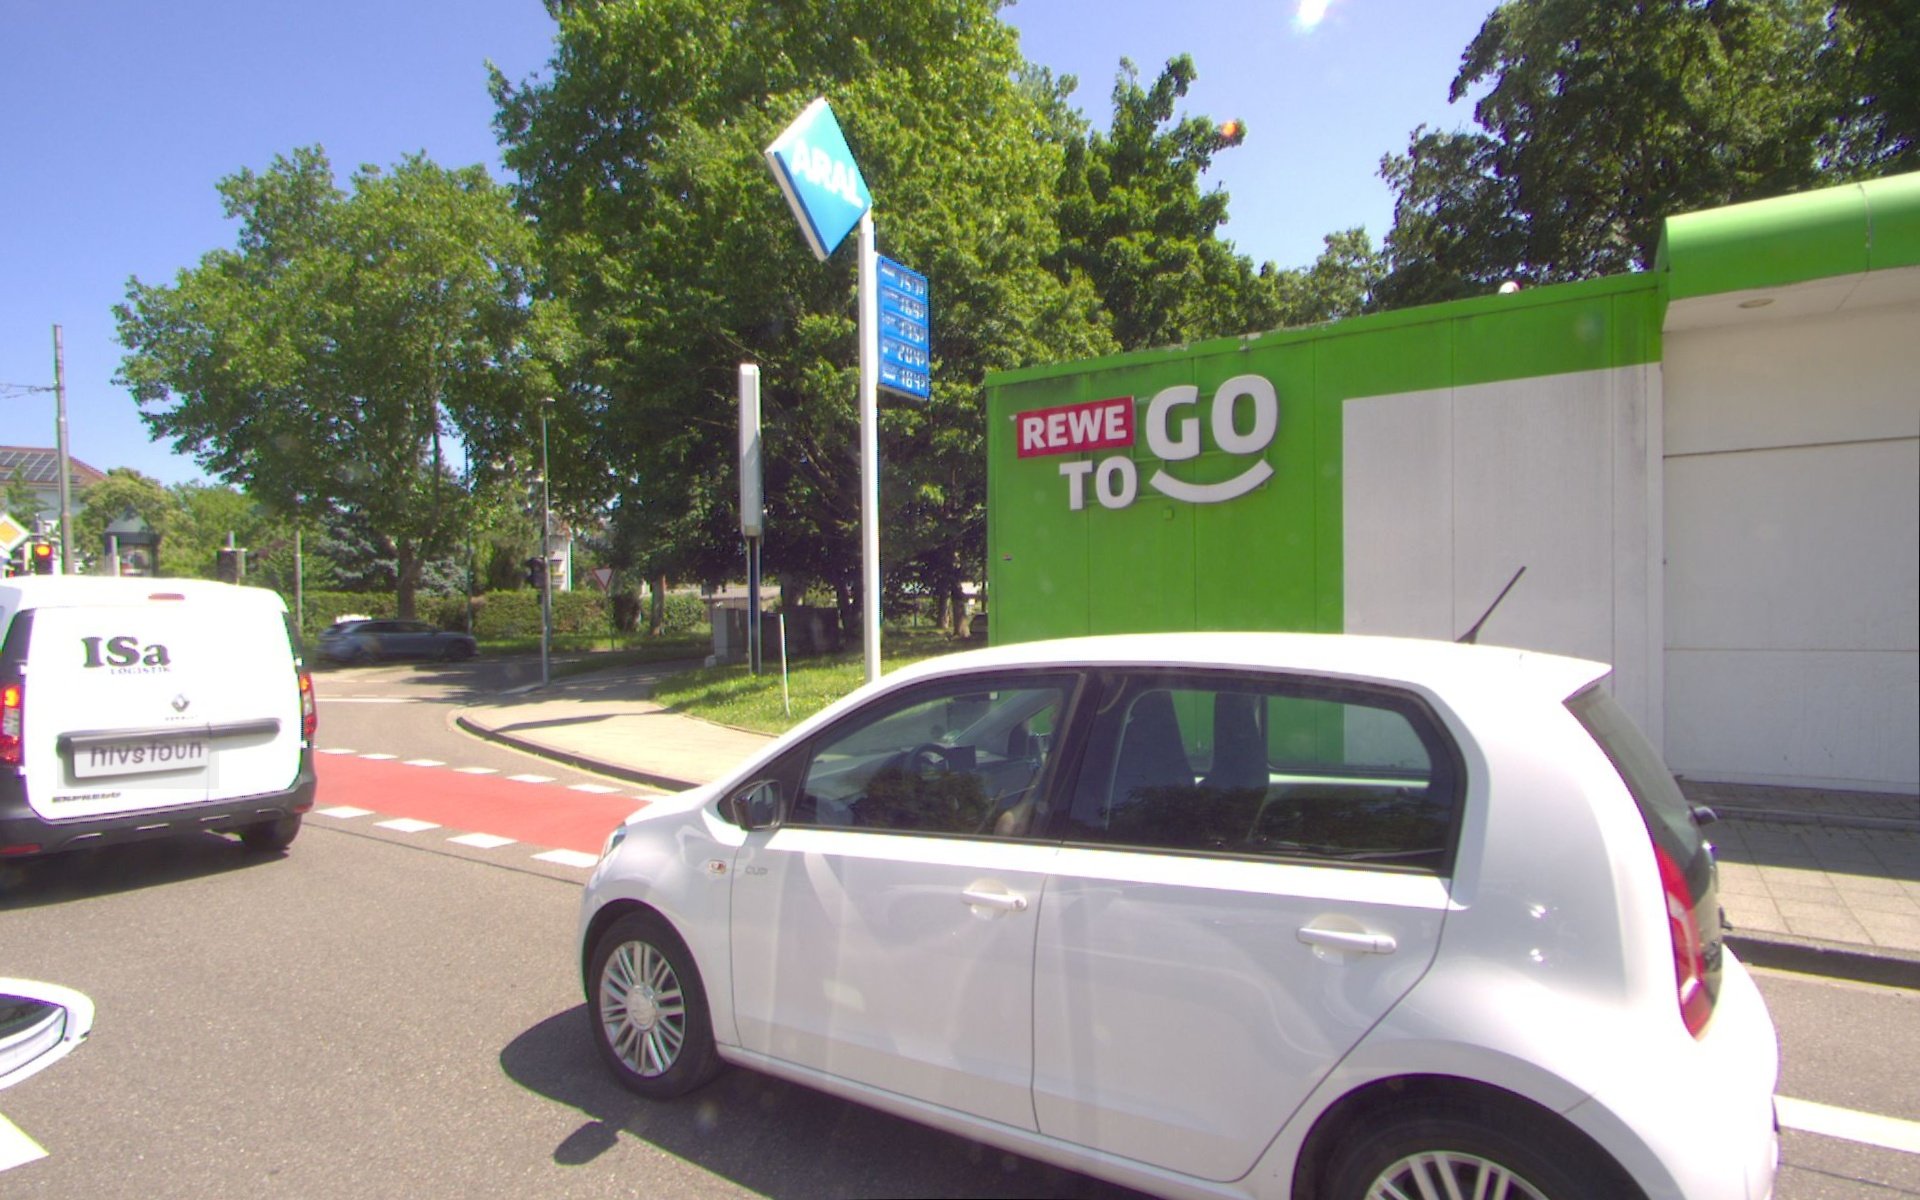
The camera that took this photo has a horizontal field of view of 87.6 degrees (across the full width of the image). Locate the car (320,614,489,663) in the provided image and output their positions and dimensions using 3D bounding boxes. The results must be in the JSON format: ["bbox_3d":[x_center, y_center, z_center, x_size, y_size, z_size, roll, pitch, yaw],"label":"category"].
[{"bbox_3d":[-18.814,1.256,34.117,1.975,1.545,4.663,-1,-1,37],"label":"car"}]

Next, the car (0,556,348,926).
[{"bbox_3d":[-6.085,0.739,6.763,3.954,1.854,1.707,-1,-1,31],"label":"car"}]

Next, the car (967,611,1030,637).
[{"bbox_3d":[2.239,1.370,57.334,1.525,1.397,3.972,-1,0,39],"label":"car"}]

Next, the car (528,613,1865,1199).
[{"bbox_3d":[0.385,0.793,3.182,3.472,1.470,1.603,-1,0,34],"label":"car"}]
